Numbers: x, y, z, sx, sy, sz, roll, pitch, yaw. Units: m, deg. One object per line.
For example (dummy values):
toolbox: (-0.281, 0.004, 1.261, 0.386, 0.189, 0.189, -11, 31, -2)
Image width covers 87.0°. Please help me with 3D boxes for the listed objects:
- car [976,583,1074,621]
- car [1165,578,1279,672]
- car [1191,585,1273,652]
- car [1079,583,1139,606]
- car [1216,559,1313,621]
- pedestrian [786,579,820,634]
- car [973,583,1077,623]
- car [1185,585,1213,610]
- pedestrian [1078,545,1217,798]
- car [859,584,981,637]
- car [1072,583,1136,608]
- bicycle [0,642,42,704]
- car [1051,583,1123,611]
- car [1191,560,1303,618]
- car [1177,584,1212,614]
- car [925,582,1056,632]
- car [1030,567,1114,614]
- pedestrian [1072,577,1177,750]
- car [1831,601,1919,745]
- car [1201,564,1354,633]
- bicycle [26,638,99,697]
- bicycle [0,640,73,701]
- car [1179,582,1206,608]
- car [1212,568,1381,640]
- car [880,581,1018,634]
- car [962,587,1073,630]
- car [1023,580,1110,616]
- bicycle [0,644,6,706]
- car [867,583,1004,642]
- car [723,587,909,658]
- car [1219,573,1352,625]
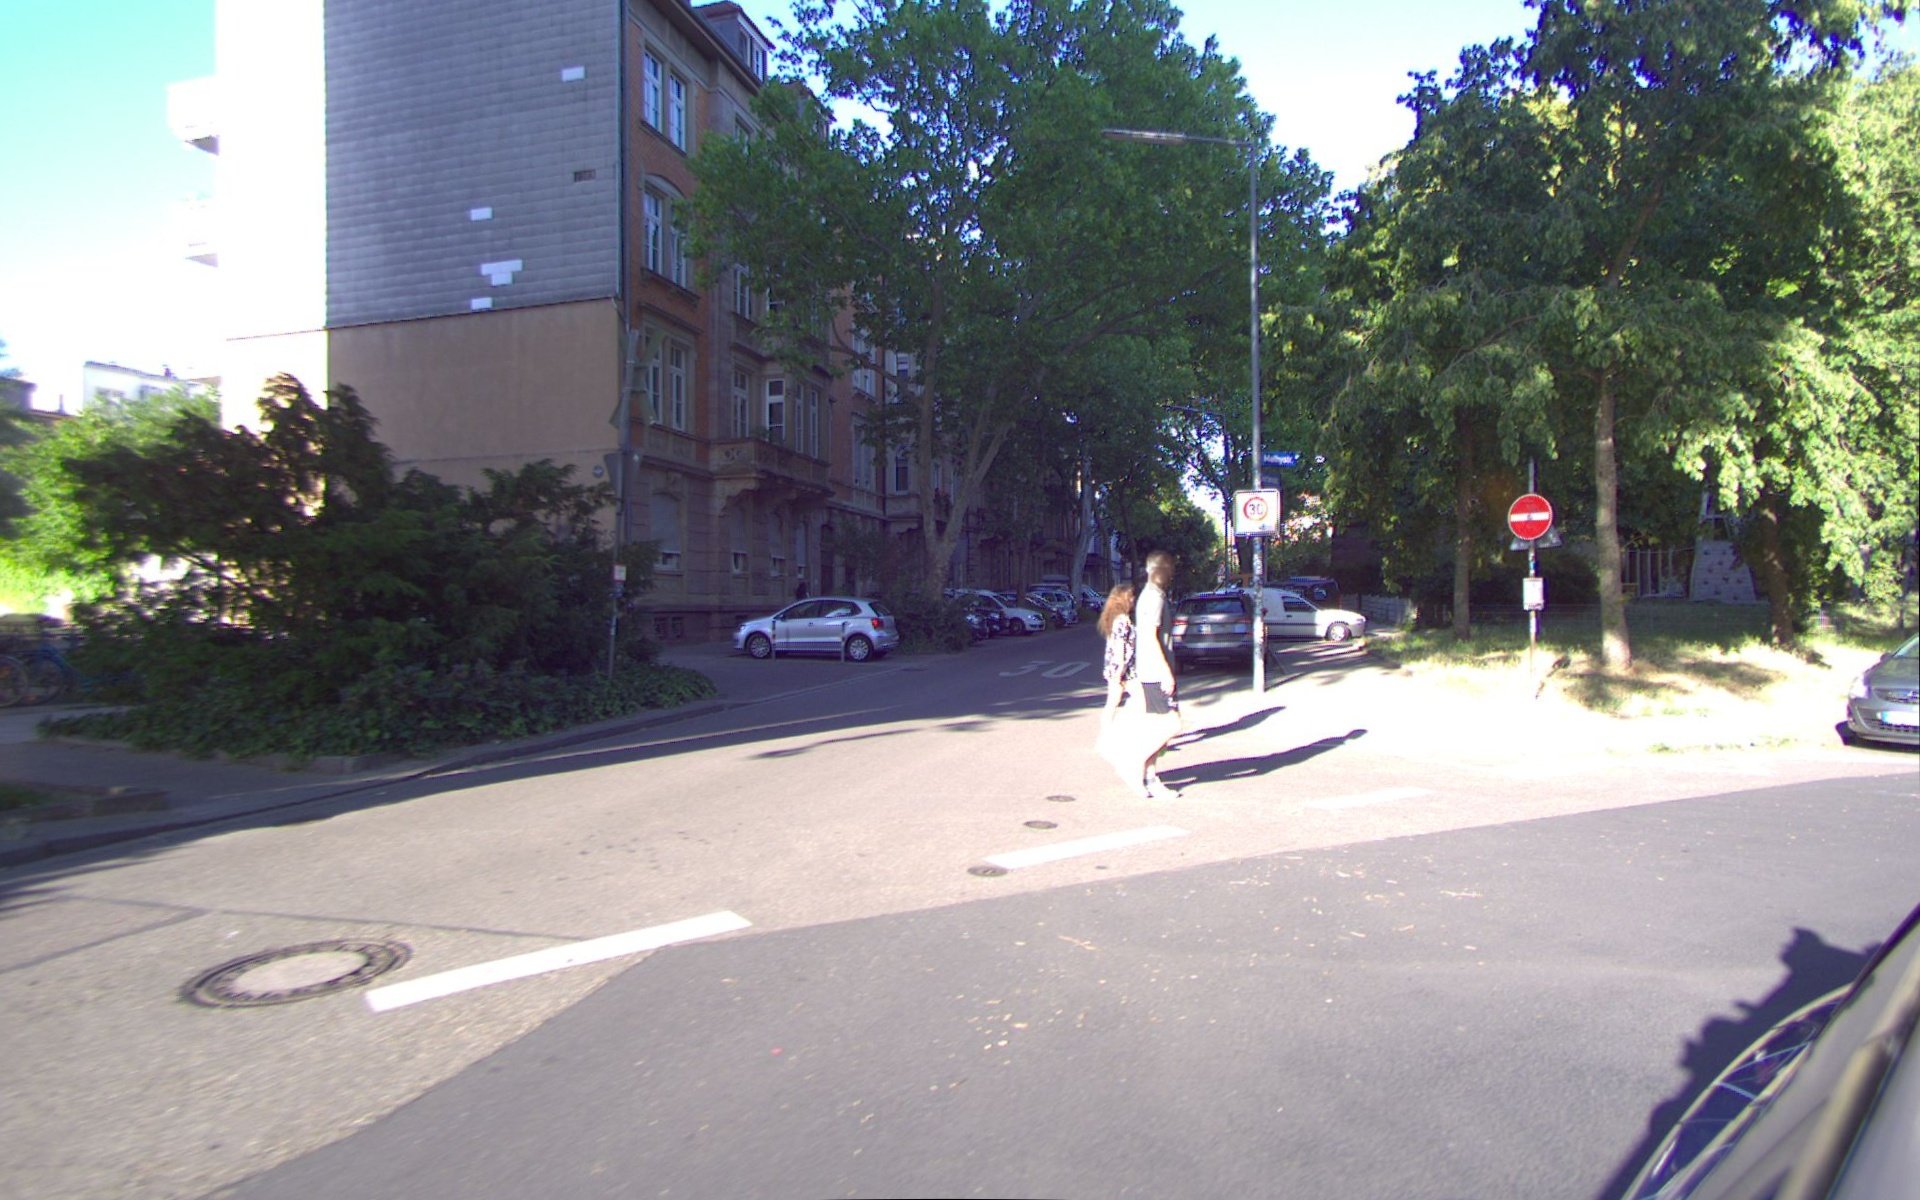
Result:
car: (3.106, 0.080, 48.115, 4.414, 1.651, 1.729, 1, 0, 12)
car: (5.259, 0.440, 19.954, 1.720, 1.572, 4.249, -4, -1, 19)
car: (6.788, 0.395, 25.075, 1.720, 1.467, 4.621, -2, 0, 17)
car: (11.308, -0.403, 76.668, 4.414, 1.651, 1.729, 1, 0, 12)
car: (15.318, -0.479, 51.142, 4.572, 3.004, 1.600, -1, 0, 14)
pedestrian: (-4.665, 0.193, 30.076, 0.801, 1.628, 0.714, 0, 0, 9)
car: (2.903, 0.094, 44.815, 4.414, 1.651, 1.729, 1, 1, 12)
car: (15.321, -0.168, 64.805, 1.578, 1.486, 2.985, 1, 1, 16)
pedestrian: (1.409, 0.505, 7.706, 0.701, 1.804, 0.816, 0, 0, -21)
car: (-1.233, 0.314, 31.998, 3.590, 1.616, 1.646, 0, 0, 11)
car: (10.198, -0.310, 71.584, 4.414, 1.651, 1.729, 1, 0, 12)
bicycle: (-11.955, 0.906, 12.652, 0.882, 0.750, 0.271, -1, 0, 14)
car: (8.094, -0.186, 64.176, 4.414, 1.651, 1.729, 1, 0, 12)
car: (12.372, -0.456, 43.890, 4.572, 2.443, 1.600, -1, 0, 14)
car: (12.328, -0.078, 53.055, 1.584, 1.486, 3.980, 1, 1, 16)
car: (1.100, 0.213, 36.657, 4.437, 1.651, 1.720, 1, 0, 25)
car: (6.313, -0.539, 57.006, 4.520, 2.534, 1.729, 1, 0, 12)
pedestrian: (1.614, 0.592, 10.010, 0.701, 1.628, 0.816, 0, 0, -21)
car: (11.565, 0.720, 10.925, 3.791, 1.465, 1.688, -1, -2, -23)
car: (9.864, -0.010, 31.555, 4.345, 1.799, 1.775, -4, -2, 20)
bicycle: (-11.787, 0.886, 13.286, 0.882, 0.750, 0.271, -1, 0, 14)
bicycle: (-11.857, 0.901, 12.980, 0.882, 0.750, 0.271, -1, 0, 14)
car: (15.854, -0.329, 69.029, 1.708, 1.653, 4.483, 1, 0, 13)
car: (9.535, 0.134, 28.874, 4.345, 1.729, 1.722, -4, -2, 20)
car: (-0.350, 0.234, 34.379, 4.414, 1.651, 1.729, 1, 0, 12)
car: (2.430, 0.316, 42.173, 4.414, 1.651, 1.729, 1, 0, 12)
car: (5.758, -0.114, 54.595, 4.520, 1.788, 1.729, 1, 0, 12)
bicycle: (-12.045, 0.913, 12.270, 0.882, 0.750, 0.271, -1, 0, 14)
car: (-0.677, 0.352, 29.567, 3.716, 1.638, 1.904, 0, 0, 10)
car: (-3.312, 0.493, 23.540, 3.937, 1.491, 1.729, 1, 0, 12)
car: (11.670, -0.021, 36.377, 4.345, 1.511, 1.775, -4, -1, 20)
